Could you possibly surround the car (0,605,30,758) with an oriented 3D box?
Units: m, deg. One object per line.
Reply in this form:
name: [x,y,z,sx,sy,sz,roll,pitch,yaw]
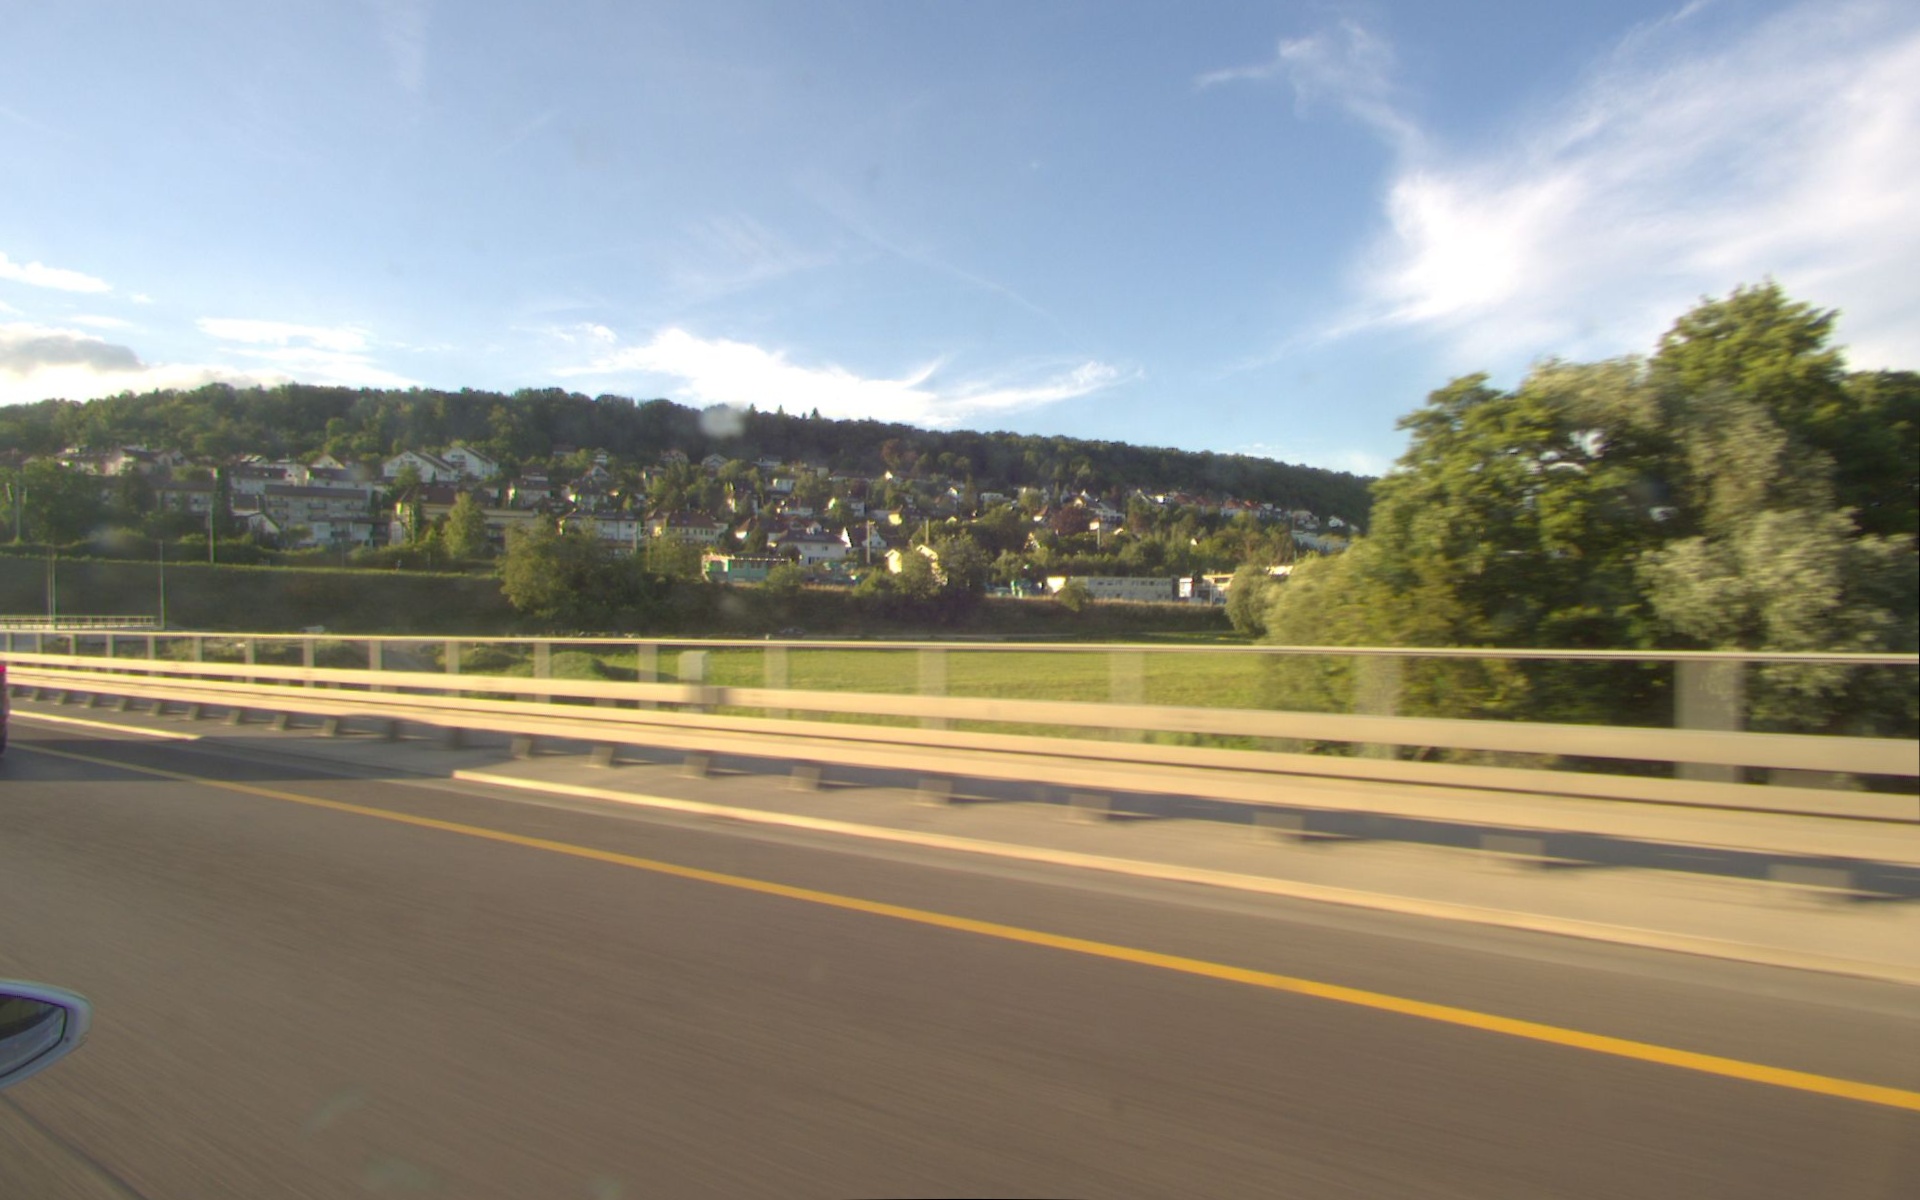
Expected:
car: [-12.530,0.874,11.388,4.348,1.653,1.811,0,-2,32]
